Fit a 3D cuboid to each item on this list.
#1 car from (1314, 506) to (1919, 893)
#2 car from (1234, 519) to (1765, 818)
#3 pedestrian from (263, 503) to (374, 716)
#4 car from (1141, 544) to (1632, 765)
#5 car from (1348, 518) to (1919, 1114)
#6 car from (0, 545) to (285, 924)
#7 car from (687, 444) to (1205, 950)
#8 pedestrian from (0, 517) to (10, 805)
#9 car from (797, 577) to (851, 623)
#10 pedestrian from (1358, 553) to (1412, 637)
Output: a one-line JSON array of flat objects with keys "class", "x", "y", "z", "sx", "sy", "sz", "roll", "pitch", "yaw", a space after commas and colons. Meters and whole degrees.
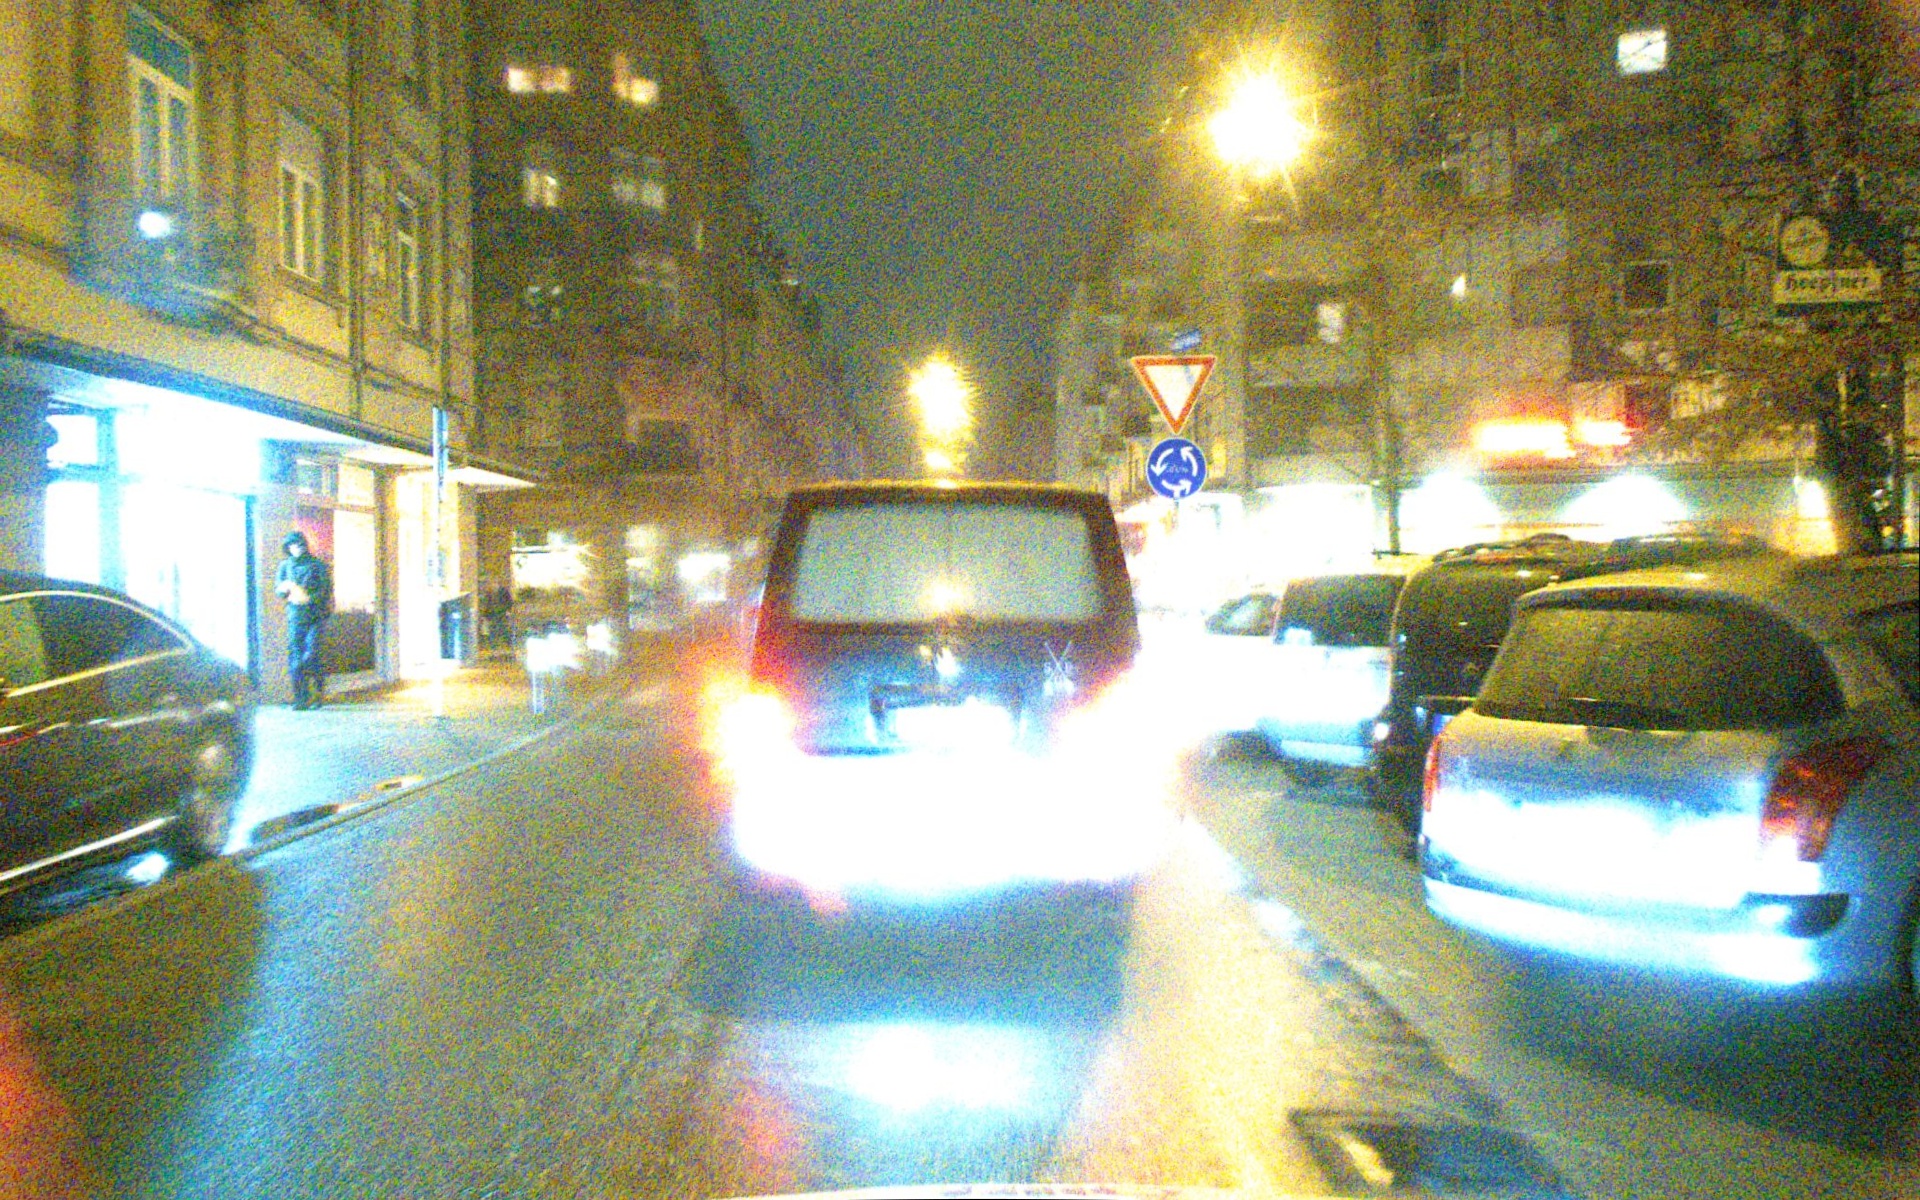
[{"class": "car", "x": 3.972, "y": 0.406, "z": 9.439, "sx": 3.752, "sy": 1.742, "sz": 1.726, "roll": -3, "pitch": 1, "yaw": -36}, {"class": "car", "x": 3.917, "y": 0.373, "z": 11.824, "sx": 3.699, "sy": 1.742, "sz": 1.749, "roll": -3, "pitch": 1, "yaw": -36}, {"class": "pedestrian", "x": -7.096, "y": 0.093, "z": 18.343, "sx": 0.783, "sy": 2.280, "sz": 1.116, "roll": -1, "pitch": 0, "yaw": -2}, {"class": "car", "x": 3.864, "y": 0.405, "z": 14.820, "sx": 4.204, "sy": 1.601, "sz": 1.754, "roll": -3, "pitch": 1, "yaw": -30}, {"class": "car", "x": 3.582, "y": 0.513, "z": 6.461, "sx": 4.028, "sy": 1.625, "sz": 1.811, "roll": -3, "pitch": 1, "yaw": -36}, {"class": "car", "x": -4.715, "y": 0.535, "z": 6.865, "sx": 1.809, "sy": 1.504, "sz": 5.030, "roll": 0, "pitch": 1, "yaw": -1}, {"class": "car", "x": -0.078, "y": 0.367, "z": 8.979, "sx": 2.079, "sy": 2.026, "sz": 4.600, "roll": 0, "pitch": 0, "yaw": -1}, {"class": "pedestrian", "x": -6.754, "y": 0.414, "z": 10.231, "sx": 0.936, "sy": 1.896, "sz": 1.414, "roll": -1, "pitch": 0, "yaw": -2}, {"class": "car", "x": -4.744, "y": -0.013, "z": 57.958, "sx": 1.554, "sy": 1.489, "sz": 4.024, "roll": 2, "pitch": 1, "yaw": -1}, {"class": "pedestrian", "x": 9.592, "y": -0.104, "z": 37.327, "sx": 0.861, "sy": 1.865, "sz": 0.980, "roll": -1, "pitch": 0, "yaw": 35}]
